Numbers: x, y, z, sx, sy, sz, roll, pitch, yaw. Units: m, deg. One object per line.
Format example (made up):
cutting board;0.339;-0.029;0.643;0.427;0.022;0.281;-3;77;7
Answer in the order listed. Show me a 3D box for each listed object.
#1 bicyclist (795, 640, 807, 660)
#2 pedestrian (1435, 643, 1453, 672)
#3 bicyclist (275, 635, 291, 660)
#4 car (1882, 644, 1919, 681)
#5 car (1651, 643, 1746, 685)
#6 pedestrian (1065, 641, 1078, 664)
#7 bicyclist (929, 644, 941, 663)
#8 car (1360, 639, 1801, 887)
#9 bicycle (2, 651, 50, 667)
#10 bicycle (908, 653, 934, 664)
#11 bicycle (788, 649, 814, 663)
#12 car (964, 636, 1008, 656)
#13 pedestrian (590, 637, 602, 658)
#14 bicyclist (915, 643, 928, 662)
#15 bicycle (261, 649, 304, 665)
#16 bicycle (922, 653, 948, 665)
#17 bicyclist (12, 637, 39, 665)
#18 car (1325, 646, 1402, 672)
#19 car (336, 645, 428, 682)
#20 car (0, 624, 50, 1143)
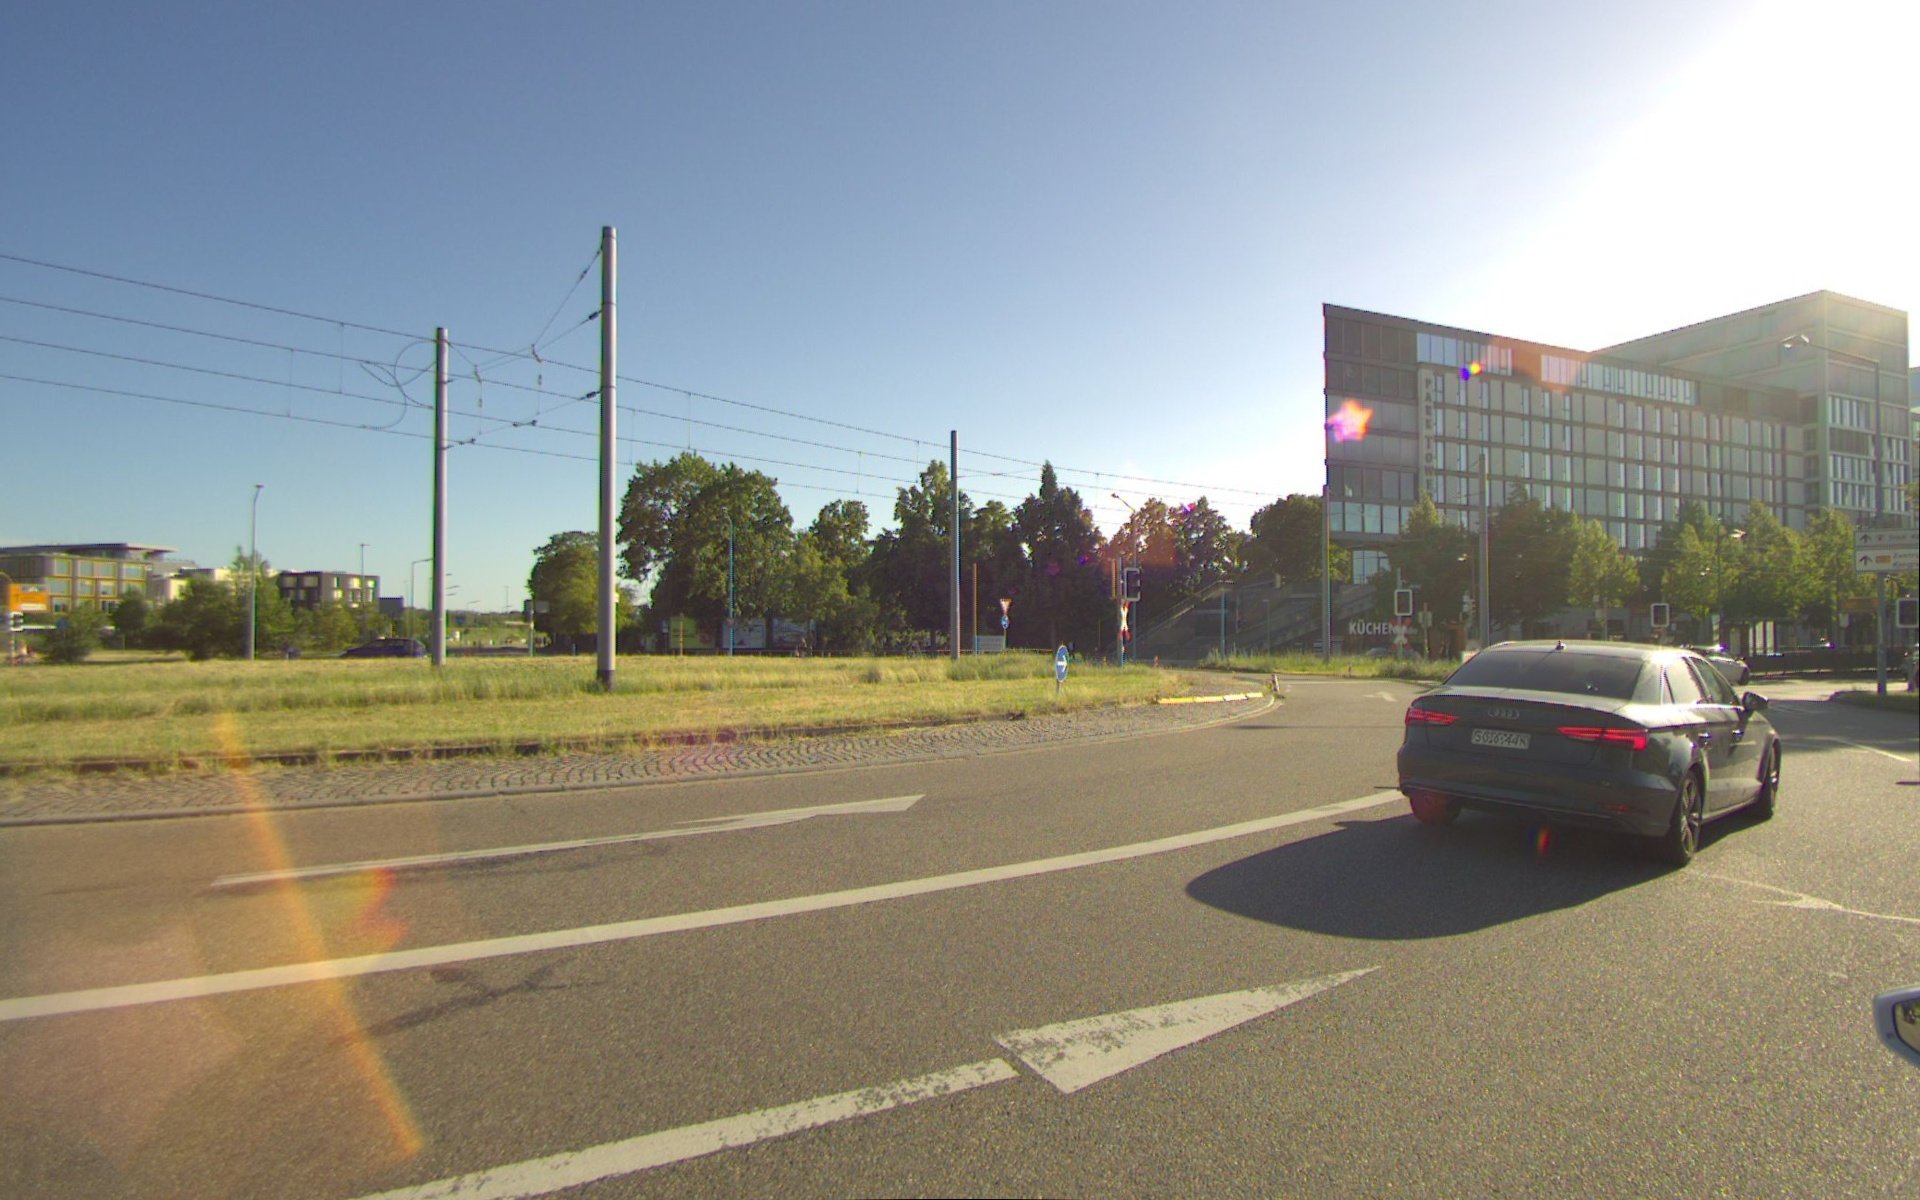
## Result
bicyclist;-12.026;3.759;75.950;0.741;1.487;0.587;1;-1;-1
pedestrian;25.486;3.017;52.876;0.668;1.485;0.552;1;-1;-27
bicyclist;-43.670;3.077;64.790;0.826;1.601;0.657;1;-2;-32
car;44.722;2.848;46.109;4.347;1.596;1.988;0;-2;-25
car;27.991;2.429;38.035;3.772;1.480;1.791;3;-2;-35
pedestrian;8.333;3.906;75.085;0.749;1.651;0.882;0;-2;-17
bicyclist;-1.889;3.994;75.346;0.709;1.411;0.614;0;-2;-23
car;5.021;1.030;7.859;4.325;1.398;1.745;2;-2;-41
bicycle;-53.090;3.360;57.123;0.605;0.864;1.888;-1;-2;24
bicycle;-2.956;4.435;76.250;1.862;0.864;0.614;0;-2;-23
bicycle;-12.040;4.225;75.946;1.834;1.025;0.587;1;-1;-1
car;2.359;4.180;91.174;3.671;1.829;1.839;-1;-2;21
pedestrian;-35.825;4.650;98.816;0.891;2.040;0.812;2;-2;-30
bicyclist;-2.944;4.005;76.278;0.825;1.411;0.614;0;-2;-23
bicycle;-43.694;3.672;64.791;2.238;1.001;0.657;1;-2;-33
bicycle;-1.872;4.426;75.341;1.862;0.864;0.614;0;-2;-23
bicyclist;-53.110;2.888;57.086;0.605;1.537;0.925;-1;-2;24
car;24.726;3.606;61.520;4.425;1.507;1.728;1;-2;-22
car;-30.189;3.283;52.586;3.855;1.808;1.769;0;-2;-18
car;-4.880;0.767;1.461;4.935;1.462;1.792;1;-1;-17
